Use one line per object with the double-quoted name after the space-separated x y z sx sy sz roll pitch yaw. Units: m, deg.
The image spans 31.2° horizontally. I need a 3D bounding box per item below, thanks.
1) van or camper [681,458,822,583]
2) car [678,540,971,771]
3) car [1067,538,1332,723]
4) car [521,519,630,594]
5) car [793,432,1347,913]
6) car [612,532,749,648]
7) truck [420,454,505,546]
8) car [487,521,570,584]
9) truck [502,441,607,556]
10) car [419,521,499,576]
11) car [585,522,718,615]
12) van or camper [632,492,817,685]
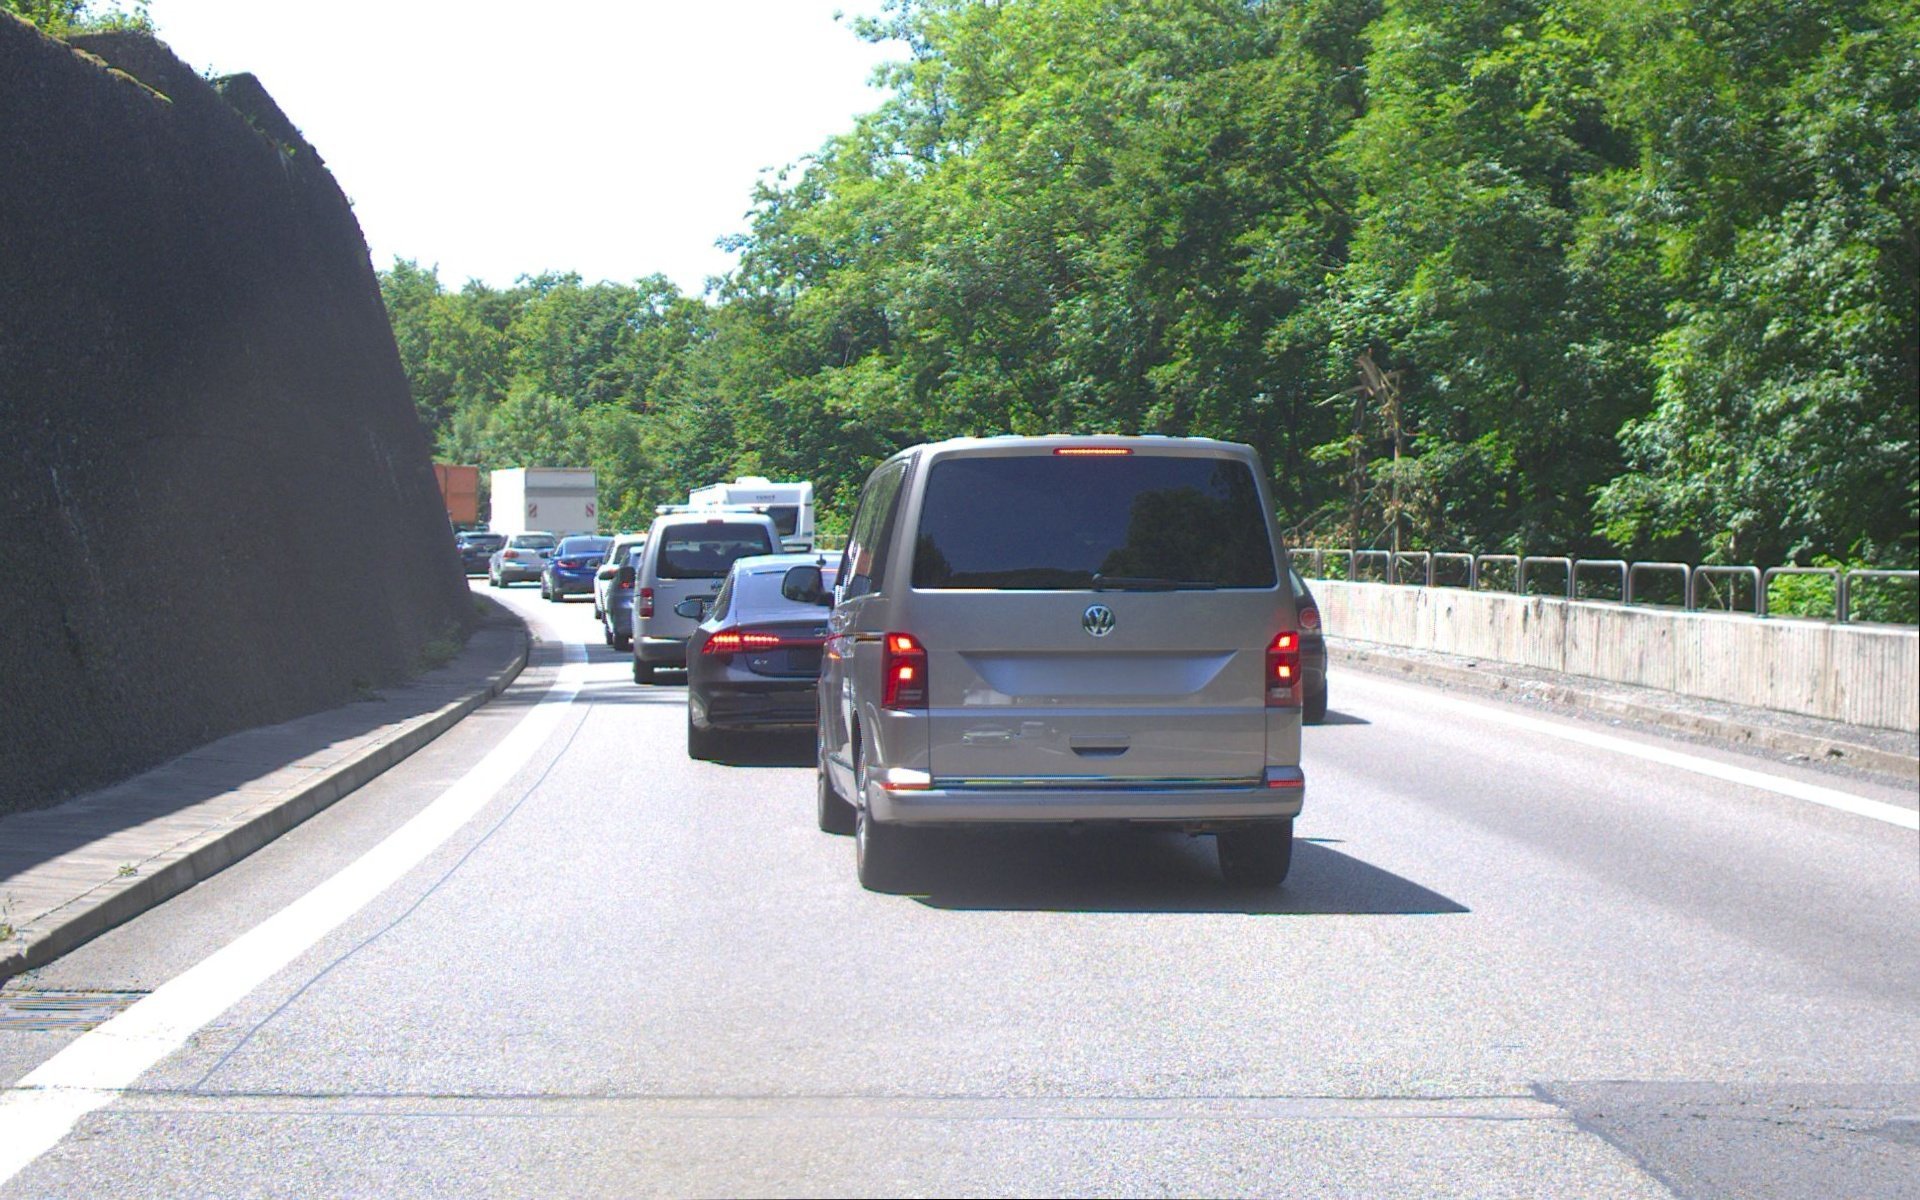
-5.063 -1.919 82.479 2.603 2.845 6.337 1 1 -10 "van or camper"
-0.984 0.329 24.905 1.904 1.484 4.380 1 1 -2 "car"
1.988 0.211 29.596 1.684 1.453 4.001 1 1 -4 "car"
-8.574 -0.993 76.482 1.857 1.614 4.001 0 1 -15 "car"
0.343 0.250 16.352 1.940 1.924 4.695 1 1 -6 "car"
-3.923 -0.170 48.277 1.771 1.467 4.001 3 1 -5 "car"
-20.584 -4.124 142.476 3.163 3.456 8.224 4 1 -8 "truck"
-11.446 -1.279 91.044 1.993 1.612 4.001 1 1 -10 "car"
-14.216 -3.528 120.065 2.924 3.674 7.727 4 1 -10 "truck"
-14.936 -1.551 102.366 1.750 1.565 3.772 1 1 -18 "car"
-5.509 -0.579 61.082 1.894 1.579 3.772 -1 1 -12 "car"
-2.567 -0.161 37.605 1.853 1.935 4.166 2 1 -4 "van or camper"
